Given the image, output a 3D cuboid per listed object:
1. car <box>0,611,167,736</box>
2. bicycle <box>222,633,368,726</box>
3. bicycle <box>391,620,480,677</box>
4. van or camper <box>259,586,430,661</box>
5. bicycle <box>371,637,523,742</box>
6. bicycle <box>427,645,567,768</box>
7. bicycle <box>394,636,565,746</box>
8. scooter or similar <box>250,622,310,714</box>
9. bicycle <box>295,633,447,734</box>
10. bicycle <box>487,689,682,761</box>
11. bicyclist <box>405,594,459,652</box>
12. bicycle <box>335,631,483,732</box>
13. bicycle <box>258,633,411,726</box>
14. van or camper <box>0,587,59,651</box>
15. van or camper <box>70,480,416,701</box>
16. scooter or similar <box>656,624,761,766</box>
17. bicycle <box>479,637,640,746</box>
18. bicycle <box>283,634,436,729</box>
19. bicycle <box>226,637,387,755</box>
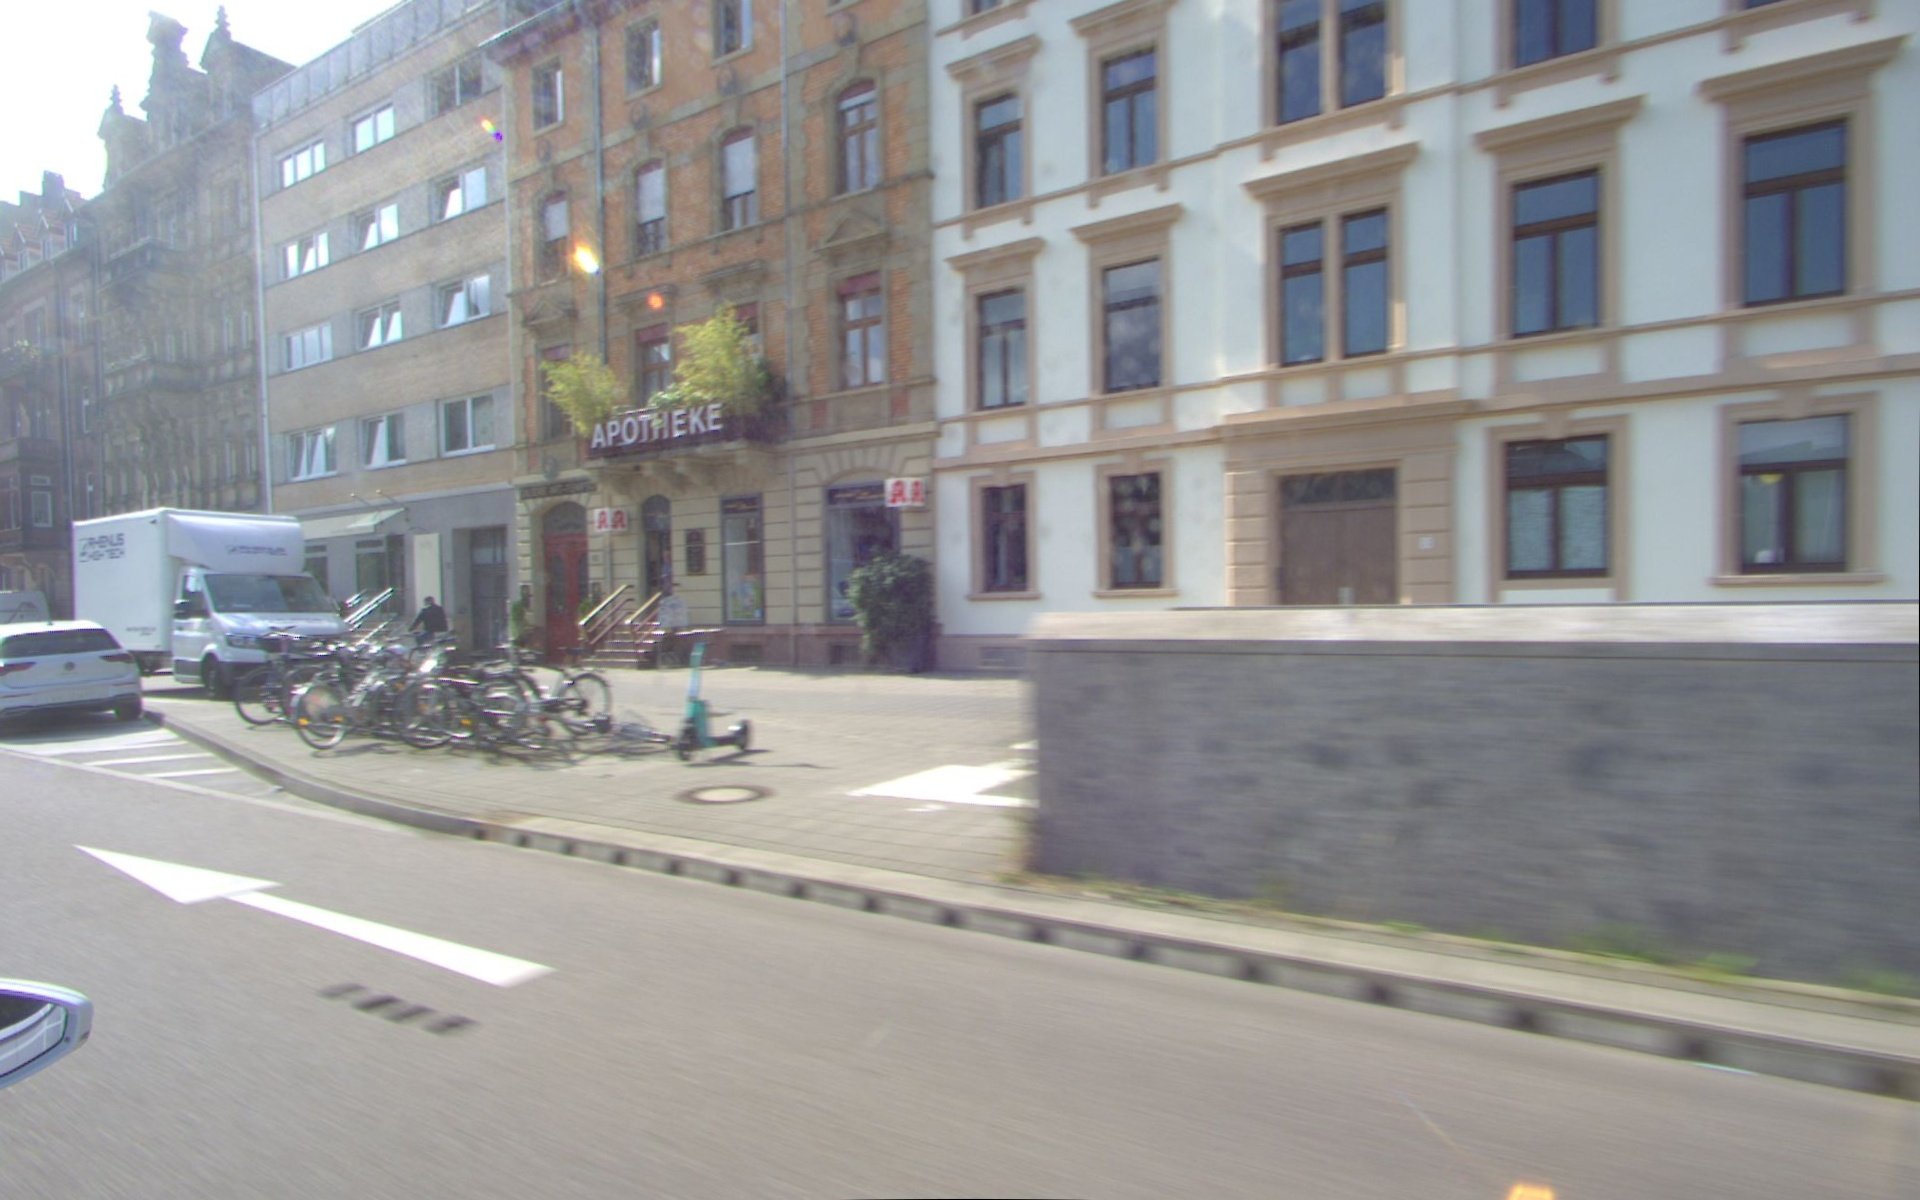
[{"bbox_3d":[-13.404,0.982,14.440,4.284,1.457,1.785,-2,3,34],"label":"car"},{"bbox_3d":[-8.637,0.996,13.083,0.365,1.099,1.762,1,0,16],"label":"bicycle"},{"bbox_3d":[-11.043,1.040,21.056,2.180,1.060,0.702,-5,-4,34],"label":"bicycle"},{"bbox_3d":[-17.634,0.644,28.625,5.222,1.931,1.988,-1,2,32],"label":"van or camper"},{"bbox_3d":[-5.970,1.001,11.758,0.366,1.099,1.759,1,0,23],"label":"bicycle"},{"bbox_3d":[-4.638,1.021,9.977,1.738,1.085,0.370,1,0,32],"label":"bicycle"},{"bbox_3d":[-5.255,0.958,11.068,0.367,1.099,1.754,1,0,34],"label":"bicycle"},{"bbox_3d":[-9.447,0.921,13.899,1.237,1.229,0.367,-1,-2,41],"label":"scooter or similar"},{"bbox_3d":[-7.086,0.966,12.144,0.366,1.099,1.760,1,0,20],"label":"bicycle"},{"bbox_3d":[-3.754,1.246,10.129,1.737,0.594,0.638,-1,0,-8],"label":"bicycle"},{"bbox_3d":[-11.144,0.493,21.130,0.803,1.161,0.706,-5,-4,34],"label":"bicyclist"},{"bbox_3d":[-6.632,0.945,12.159,0.366,1.099,1.760,1,0,20],"label":"bicycle"},{"bbox_3d":[-8.106,0.993,13.061,0.366,1.099,1.758,1,0,26],"label":"bicycle"},{"bbox_3d":[-39.675,0.770,41.537,5.486,2.507,1.989,-1,0,33],"label":"van or camper"},{"bbox_3d":[-13.420,-0.088,18.512,7.534,3.375,2.705,-1,0,34],"label":"van or camper"},{"bbox_3d":[-2.420,0.880,9.743,0.376,1.255,1.162,0,2,20],"label":"scooter or similar"},{"bbox_3d":[-4.433,0.975,11.209,0.367,1.099,1.754,1,0,34],"label":"bicycle"},{"bbox_3d":[-7.628,0.999,12.808,0.366,1.099,1.758,1,0,26],"label":"bicycle"},{"bbox_3d":[-6.795,0.960,10.504,0.365,1.099,1.600,1,0,13],"label":"bicycle"}]
